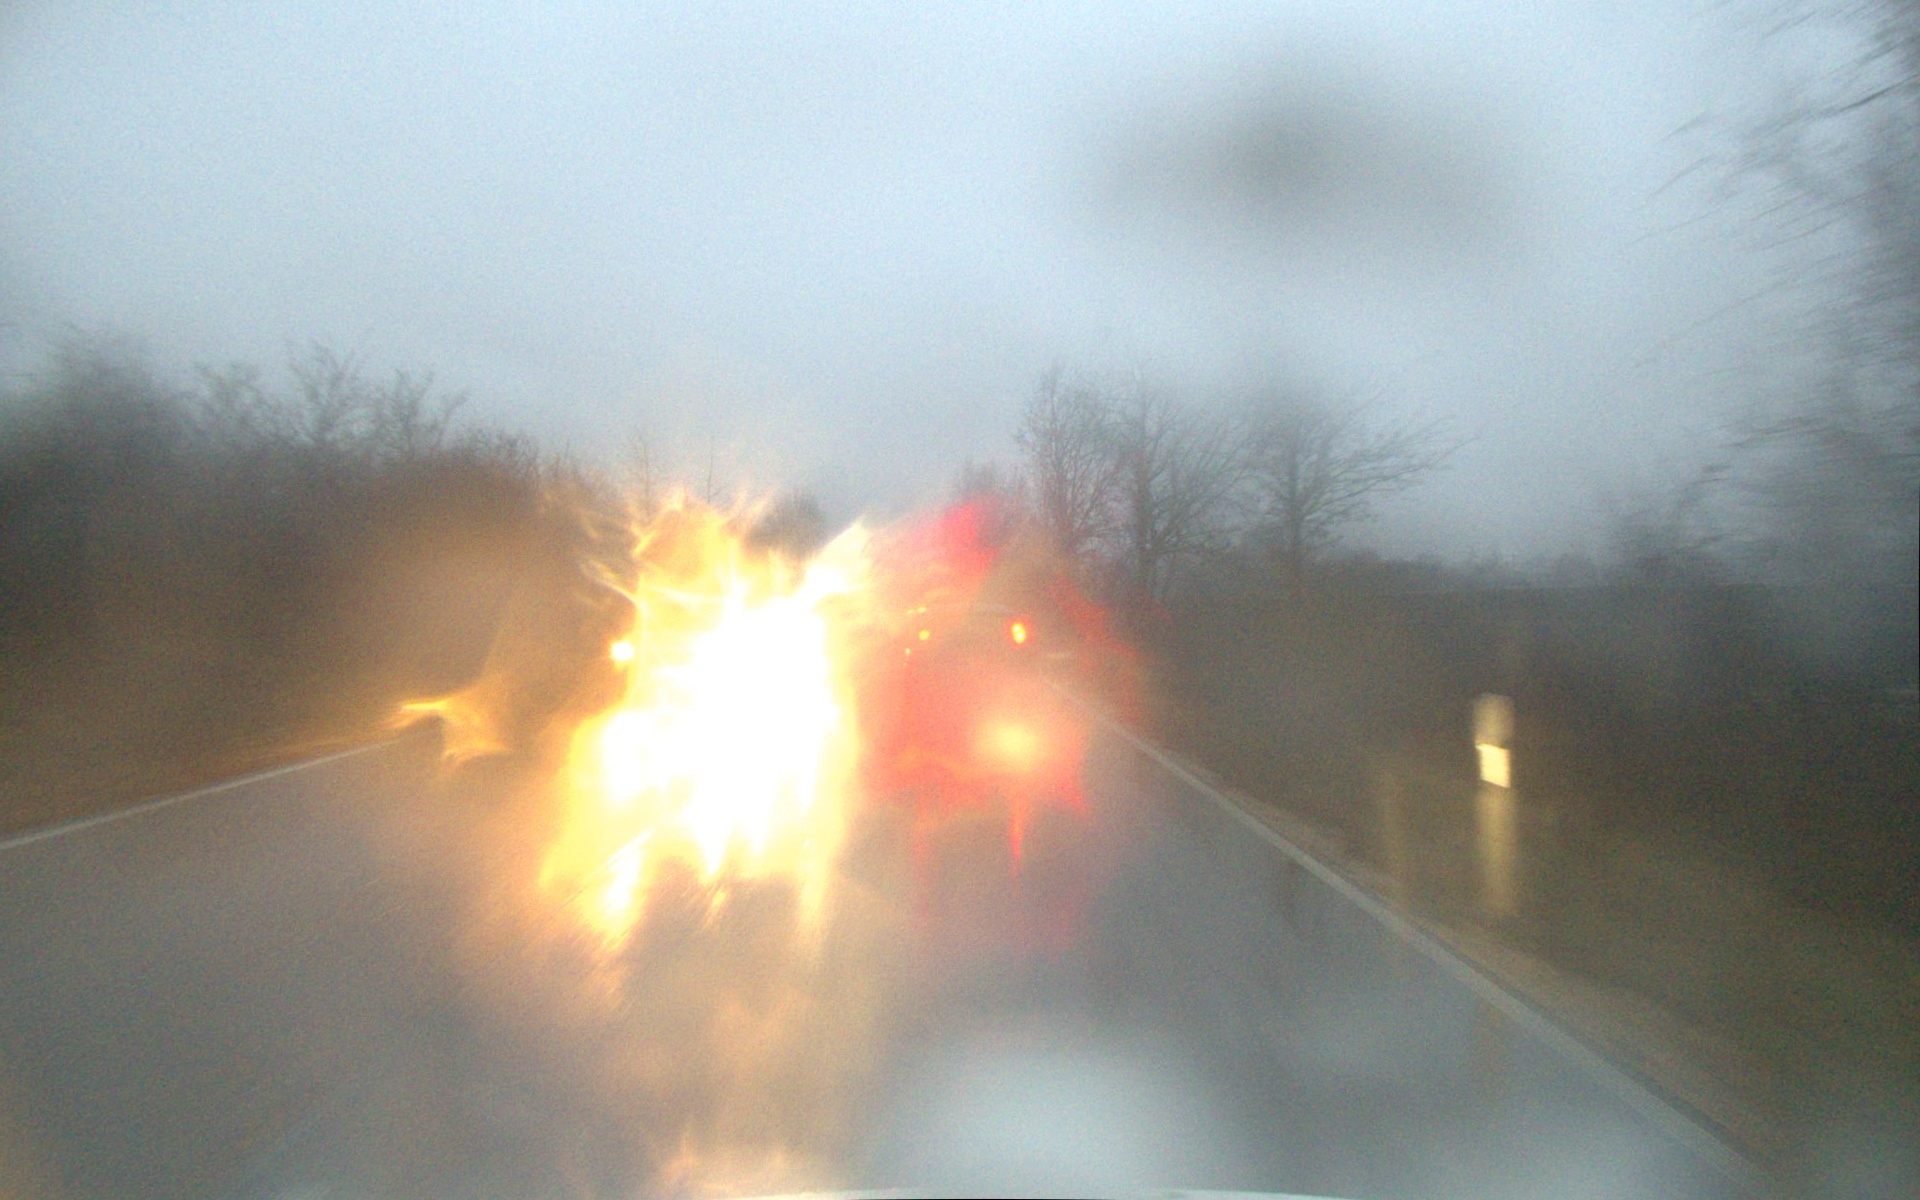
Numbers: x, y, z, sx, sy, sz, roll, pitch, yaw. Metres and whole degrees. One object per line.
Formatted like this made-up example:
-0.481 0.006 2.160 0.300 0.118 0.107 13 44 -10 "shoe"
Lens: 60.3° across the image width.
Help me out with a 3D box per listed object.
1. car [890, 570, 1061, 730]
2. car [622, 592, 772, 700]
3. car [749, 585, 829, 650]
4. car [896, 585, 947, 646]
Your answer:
0.193 0.577 21.260 1.952 1.816 4.000 1 0 0 "car"
-3.983 0.653 25.609 1.788 1.525 4.093 1 0 -2 "car"
-4.700 0.470 46.023 1.722 1.669 4.685 2 0 0 "car"
-1.264 0.501 55.086 1.542 1.907 3.709 1 0 0 "car"
